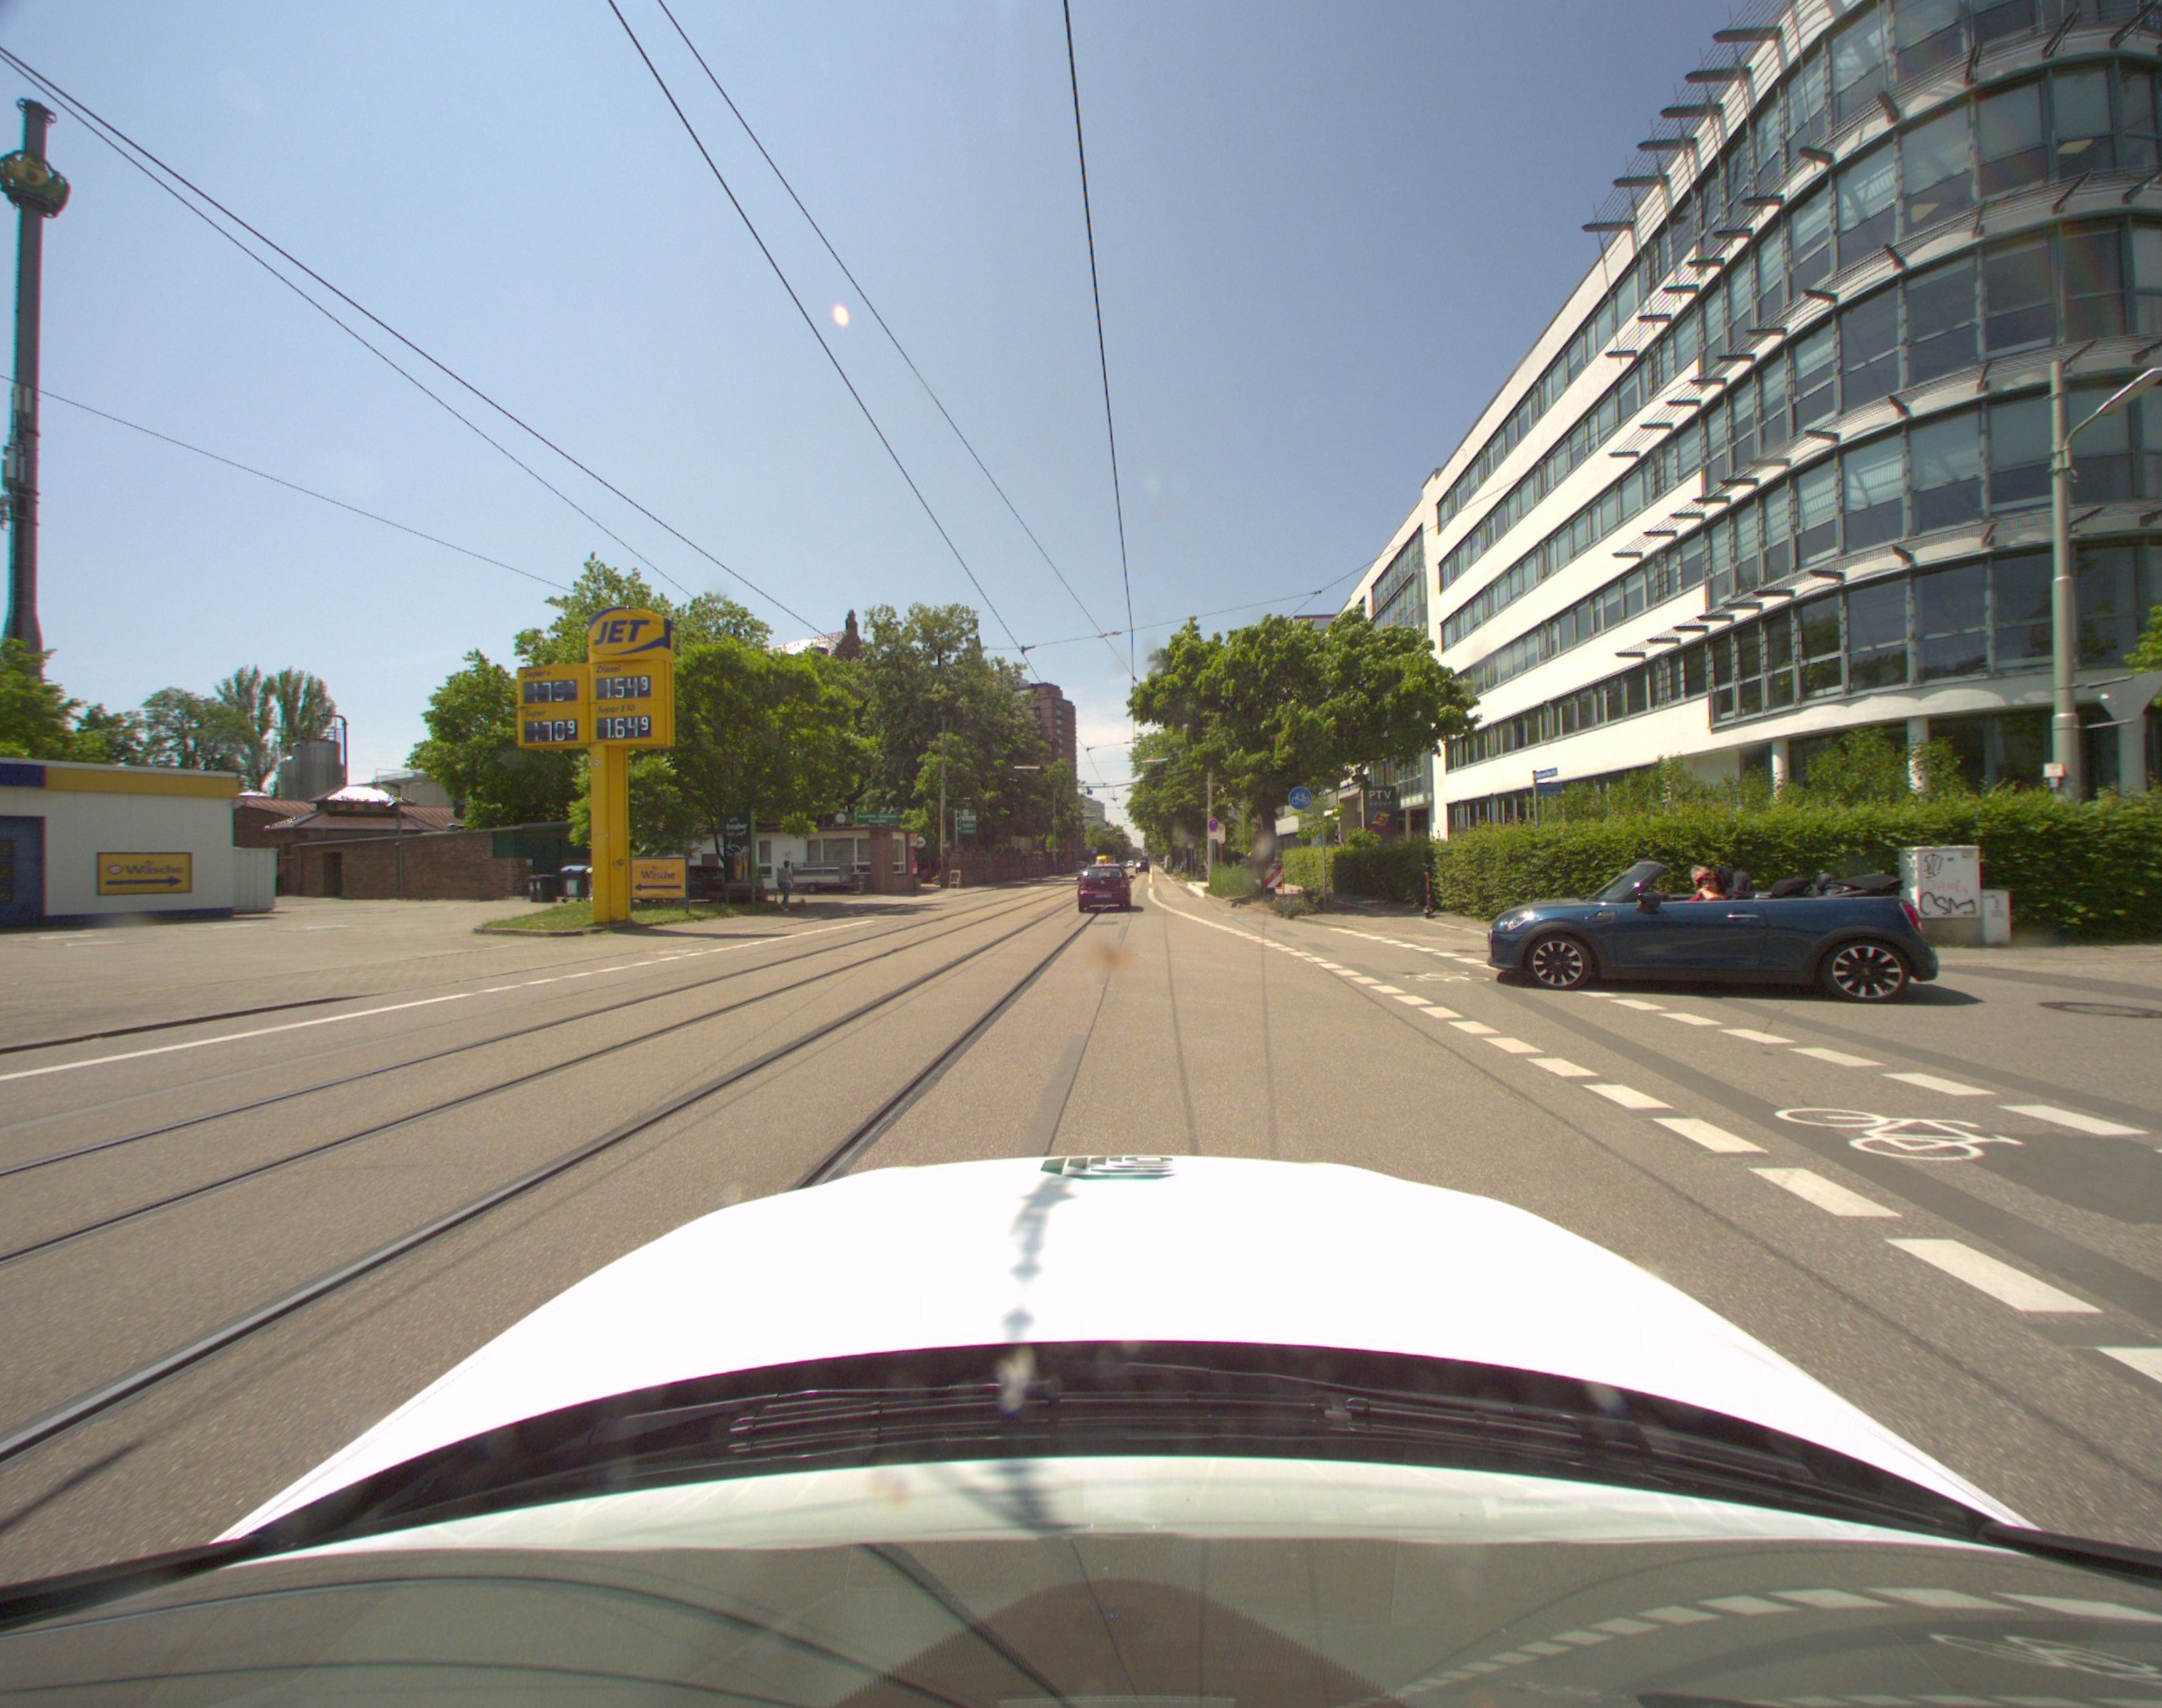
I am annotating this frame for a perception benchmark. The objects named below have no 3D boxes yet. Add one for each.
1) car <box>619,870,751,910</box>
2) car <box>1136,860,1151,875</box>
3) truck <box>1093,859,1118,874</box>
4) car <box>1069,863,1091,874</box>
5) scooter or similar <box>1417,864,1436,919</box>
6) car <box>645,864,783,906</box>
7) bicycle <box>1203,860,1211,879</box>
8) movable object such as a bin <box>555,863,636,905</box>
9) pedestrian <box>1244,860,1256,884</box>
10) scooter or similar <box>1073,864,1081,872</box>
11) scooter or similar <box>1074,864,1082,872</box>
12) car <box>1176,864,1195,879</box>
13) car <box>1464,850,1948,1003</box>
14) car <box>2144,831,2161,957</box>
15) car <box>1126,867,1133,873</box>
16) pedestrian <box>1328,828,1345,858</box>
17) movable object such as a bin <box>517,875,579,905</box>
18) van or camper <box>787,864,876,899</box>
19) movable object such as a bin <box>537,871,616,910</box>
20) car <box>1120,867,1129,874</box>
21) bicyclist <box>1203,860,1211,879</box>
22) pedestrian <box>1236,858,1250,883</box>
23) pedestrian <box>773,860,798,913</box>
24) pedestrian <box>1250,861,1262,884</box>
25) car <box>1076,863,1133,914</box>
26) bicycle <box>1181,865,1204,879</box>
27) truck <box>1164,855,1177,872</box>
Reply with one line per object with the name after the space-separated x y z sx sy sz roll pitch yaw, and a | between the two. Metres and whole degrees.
-16.176 1.437 33.412 1.911 1.488 4.477 -1 -1 44 | car
8.397 1.821 109.440 1.985 2.014 4.003 0 -1 3 | car
4.594 2.341 152.361 2.349 2.787 7.356 -2 -1 20 | truck
-0.220 2.799 156.782 3.964 2.014 2.005 -1 -1 9 | car
7.926 0.833 18.659 0.323 1.222 1.158 0 -1 26 | scooter or similar
-14.196 1.160 31.670 1.911 1.488 4.477 -1 -1 44 | car
12.261 1.496 79.422 0.686 1.785 1.814 -3 -2 8 | bicycle
-18.164 1.097 30.527 1.506 1.509 2.112 0 -1 29 | movable object such as a bin
12.312 1.301 59.285 0.539 1.715 0.561 -2 -2 -25 | pedestrian
-0.669 2.201 127.058 1.091 1.155 0.524 0 -1 -16 | scooter or similar
-0.460 2.237 129.710 1.091 1.155 0.524 0 -1 -16 | scooter or similar
10.596 1.768 82.531 1.681 1.503 3.632 -3 -1 5 | car
6.460 0.723 8.987 3.876 1.372 1.714 -2 -2 29 | car
14.508 0.404 8.443 4.124 1.460 1.822 -2 -1 8 | car
14.523 4.785 243.595 1.984 1.855 4.688 -1 -1 5 | car
15.185 -0.668 48.418 0.866 1.715 1.095 -3 -2 19 | pedestrian
-21.207 1.423 32.398 1.391 1.138 1.574 0 -1 29 | movable object such as a bin
-12.363 1.343 40.470 3.766 1.629 1.874 0 0 4 | van or camper
-19.457 1.366 31.439 1.506 1.432 2.112 0 -1 29 | movable object such as a bin
9.353 3.520 175.923 1.762 1.516 4.005 -1 -1 5 | car
12.271 1.491 79.411 0.692 1.799 0.889 -3 -2 8 | bicyclist
11.962 1.252 60.192 0.681 1.796 0.669 -2 -2 -27 | pedestrian
-10.075 1.095 27.786 0.578 1.776 0.700 0 -1 1 | pedestrian
12.874 1.361 59.794 0.539 1.715 0.561 -2 -2 -25 | pedestrian
0.827 1.071 26.470 1.612 1.486 4.004 -1 -1 4 | car
9.610 1.573 70.308 1.875 1.182 0.695 -2 -2 4 | bicycle
14.500 1.575 131.915 1.984 2.662 4.881 0 -1 5 | truck
